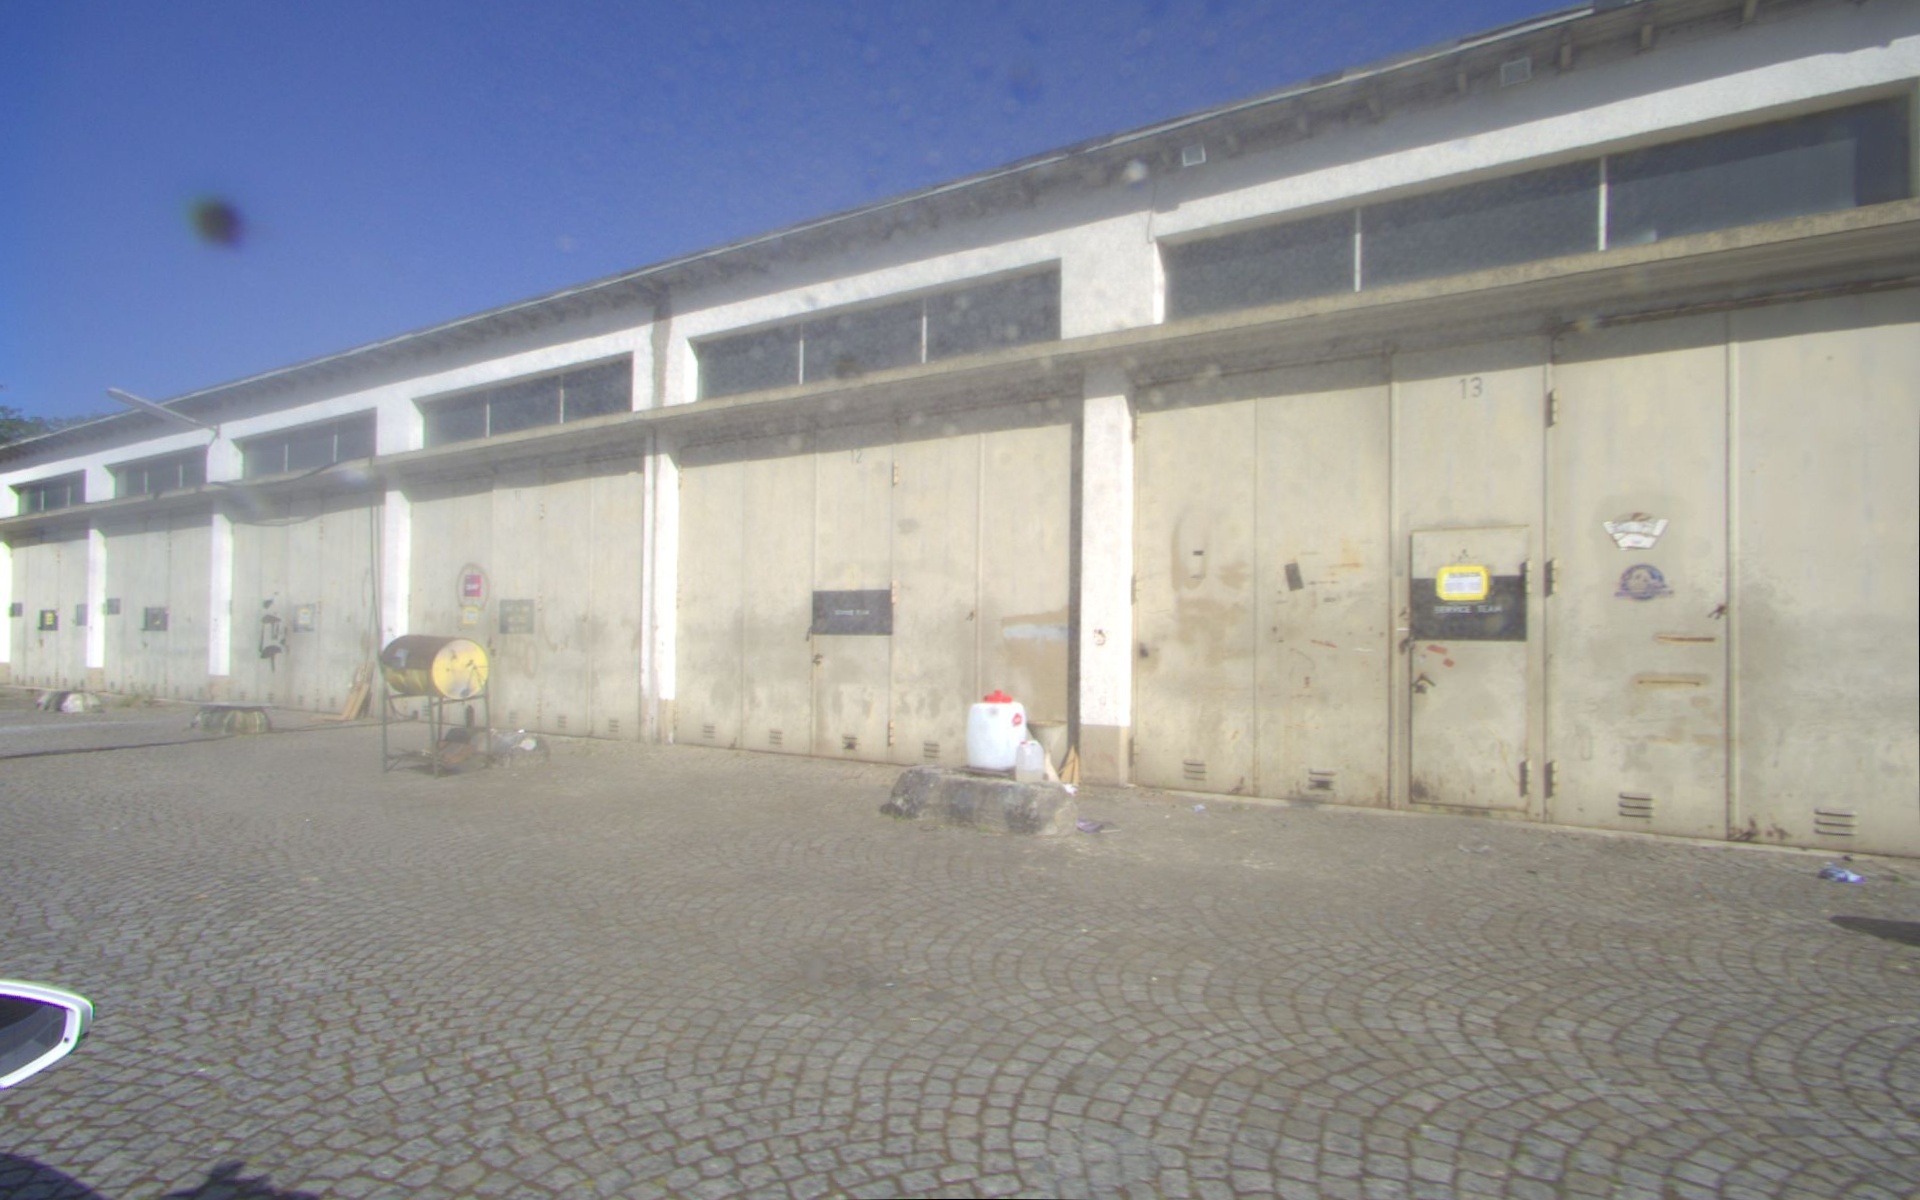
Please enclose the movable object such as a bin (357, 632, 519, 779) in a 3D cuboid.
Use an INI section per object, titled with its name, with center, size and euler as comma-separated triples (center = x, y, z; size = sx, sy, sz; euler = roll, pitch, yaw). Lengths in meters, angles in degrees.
[movable object such as a bin]
center = -5.164, 1.002, 9.913
size = 1.260, 1.348, 0.823
euler = 0, -2, 27
